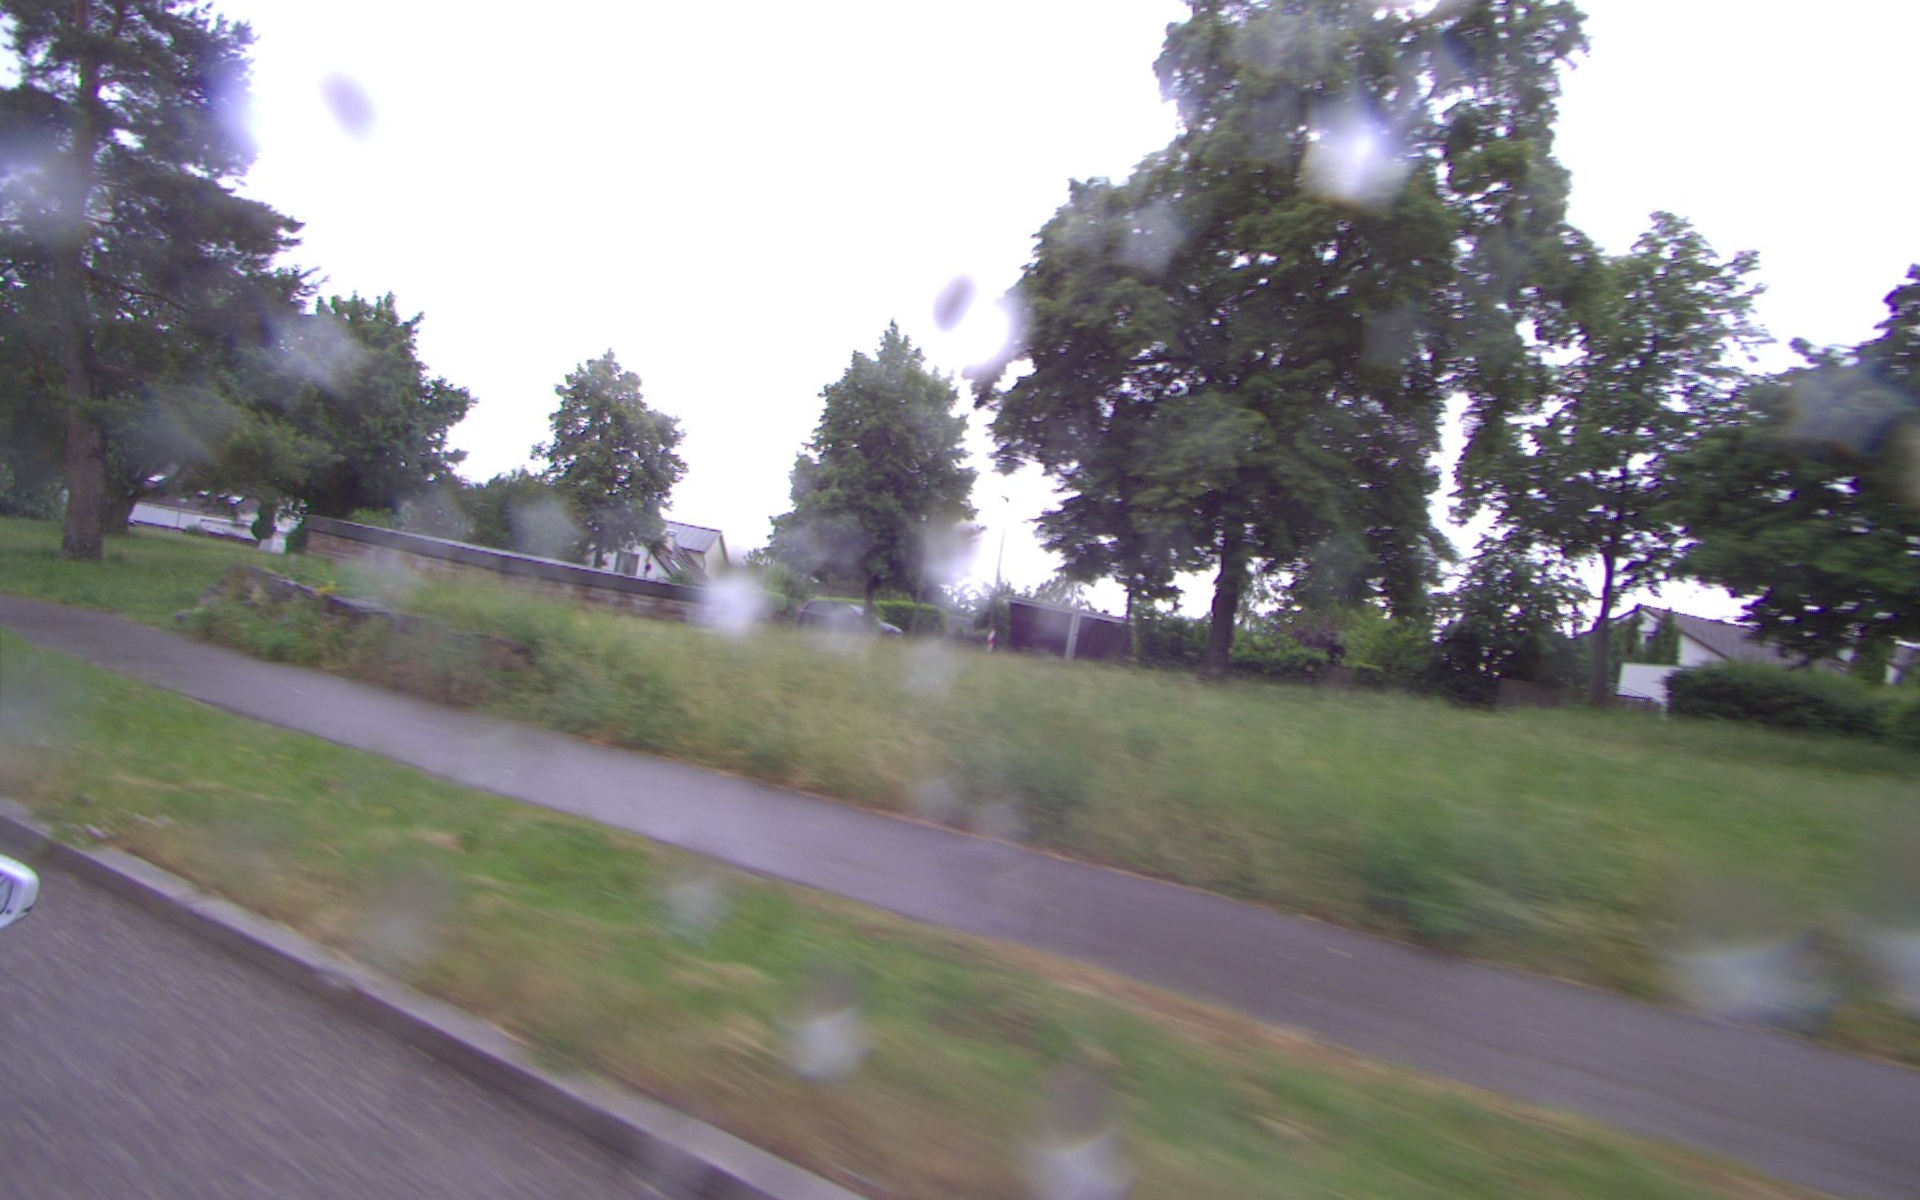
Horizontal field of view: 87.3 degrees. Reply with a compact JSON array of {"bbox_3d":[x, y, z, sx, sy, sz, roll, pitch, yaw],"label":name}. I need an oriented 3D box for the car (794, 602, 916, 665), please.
[{"bbox_3d":[-3.764,1.186,35.863,3.936,1.671,1.829,7,-2,34],"label":"car"}]

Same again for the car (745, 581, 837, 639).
[{"bbox_3d":[-9.154,0.640,55.382,2.564,2.527,6.691,10,0,10],"label":"car"}]
